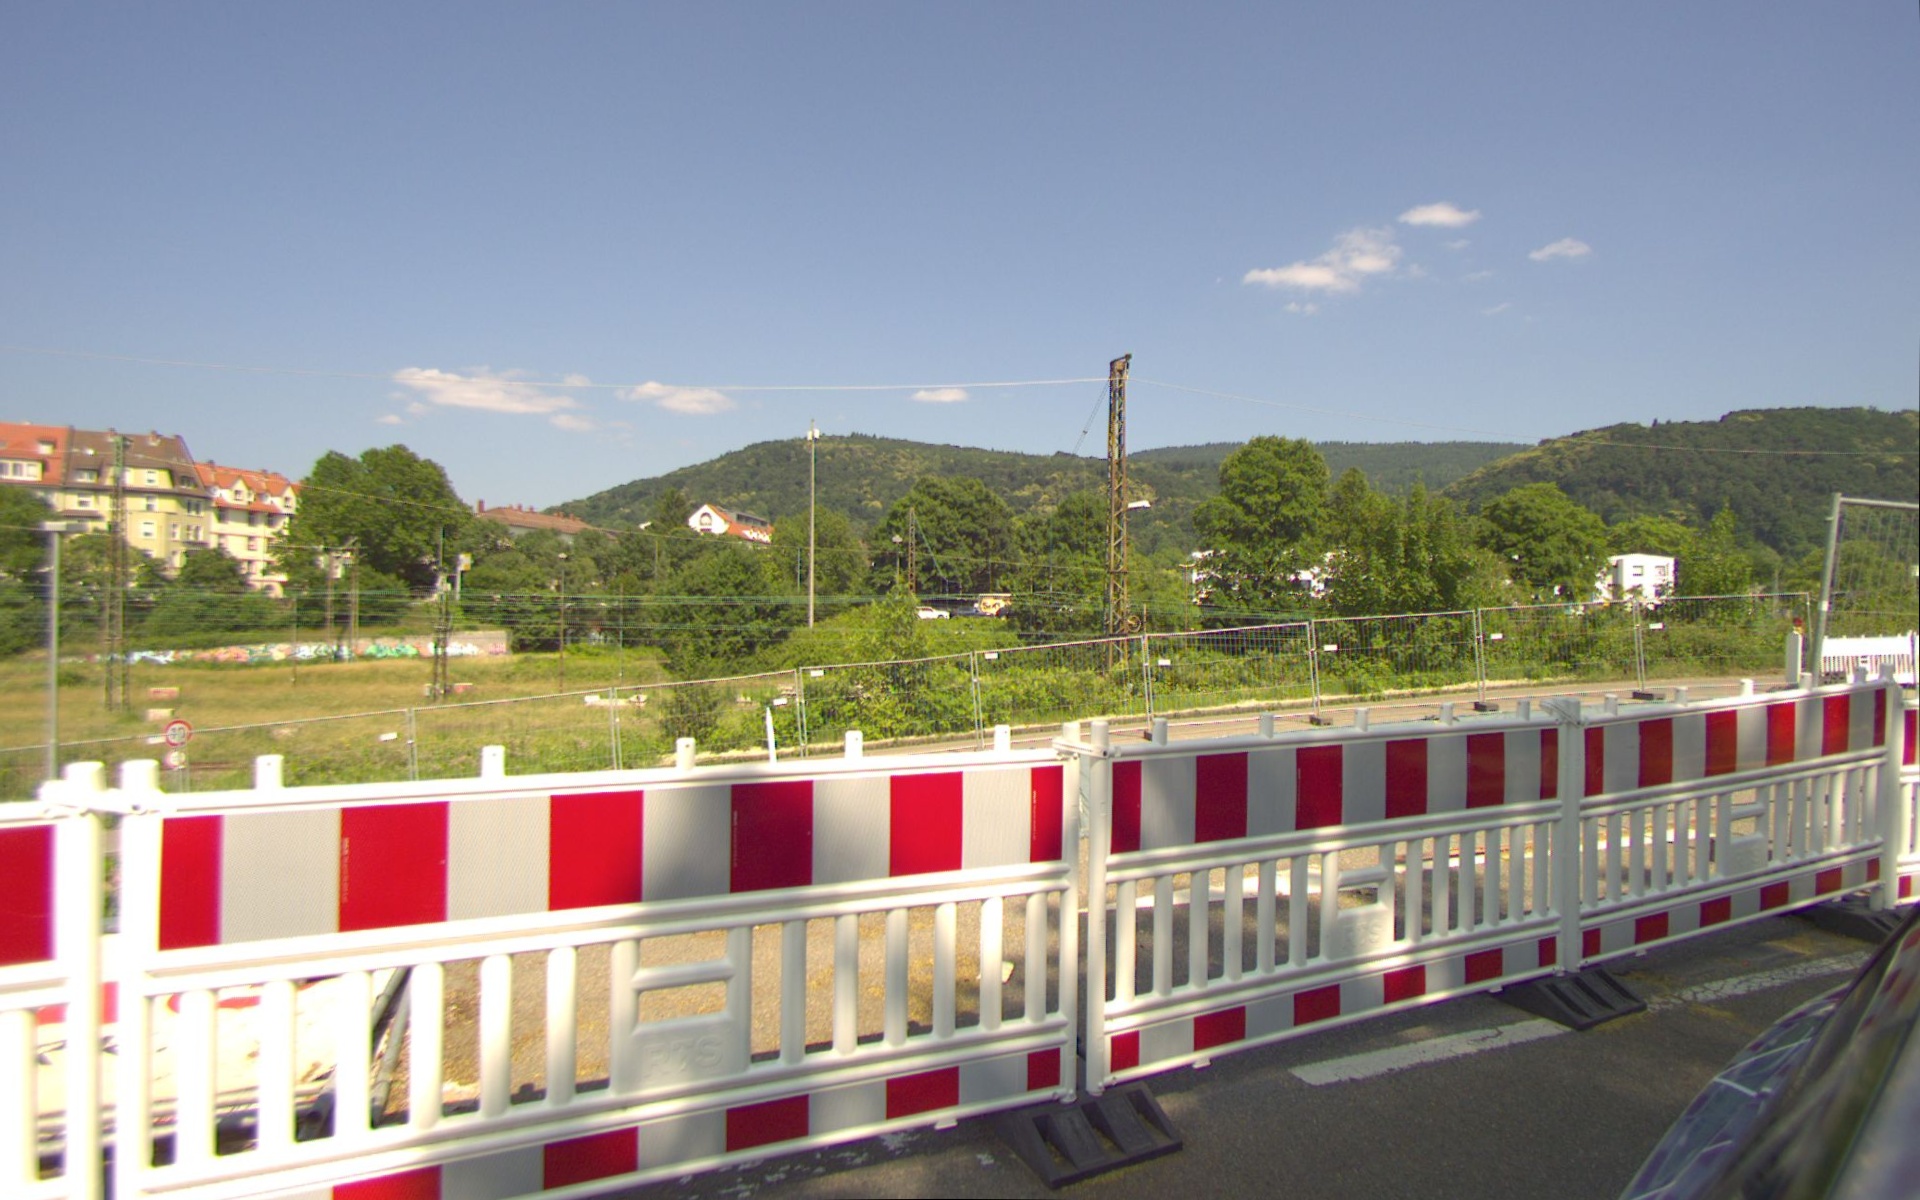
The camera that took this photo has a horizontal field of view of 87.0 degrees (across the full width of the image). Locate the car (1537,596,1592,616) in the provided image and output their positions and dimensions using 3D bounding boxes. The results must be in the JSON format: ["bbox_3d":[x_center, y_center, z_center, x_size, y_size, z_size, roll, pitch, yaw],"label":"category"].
[{"bbox_3d":[73.459,0.765,122.941,5.406,2.130,2.136,-1,-5,-8],"label":"car"}]

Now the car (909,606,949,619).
[{"bbox_3d":[-3.430,1.390,113.433,4.247,1.384,1.860,0,0,11],"label":"car"}]

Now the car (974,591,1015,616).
[{"bbox_3d":[3.927,0.387,114.963,4.554,2.888,1.865,0,-1,2],"label":"car"}]

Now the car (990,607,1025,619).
[{"bbox_3d":[5.223,1.417,111.563,3.777,1.384,1.779,0,0,7],"label":"car"}]

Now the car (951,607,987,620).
[{"bbox_3d":[1.016,1.459,112.409,3.780,1.384,1.778,0,0,10],"label":"car"}]
